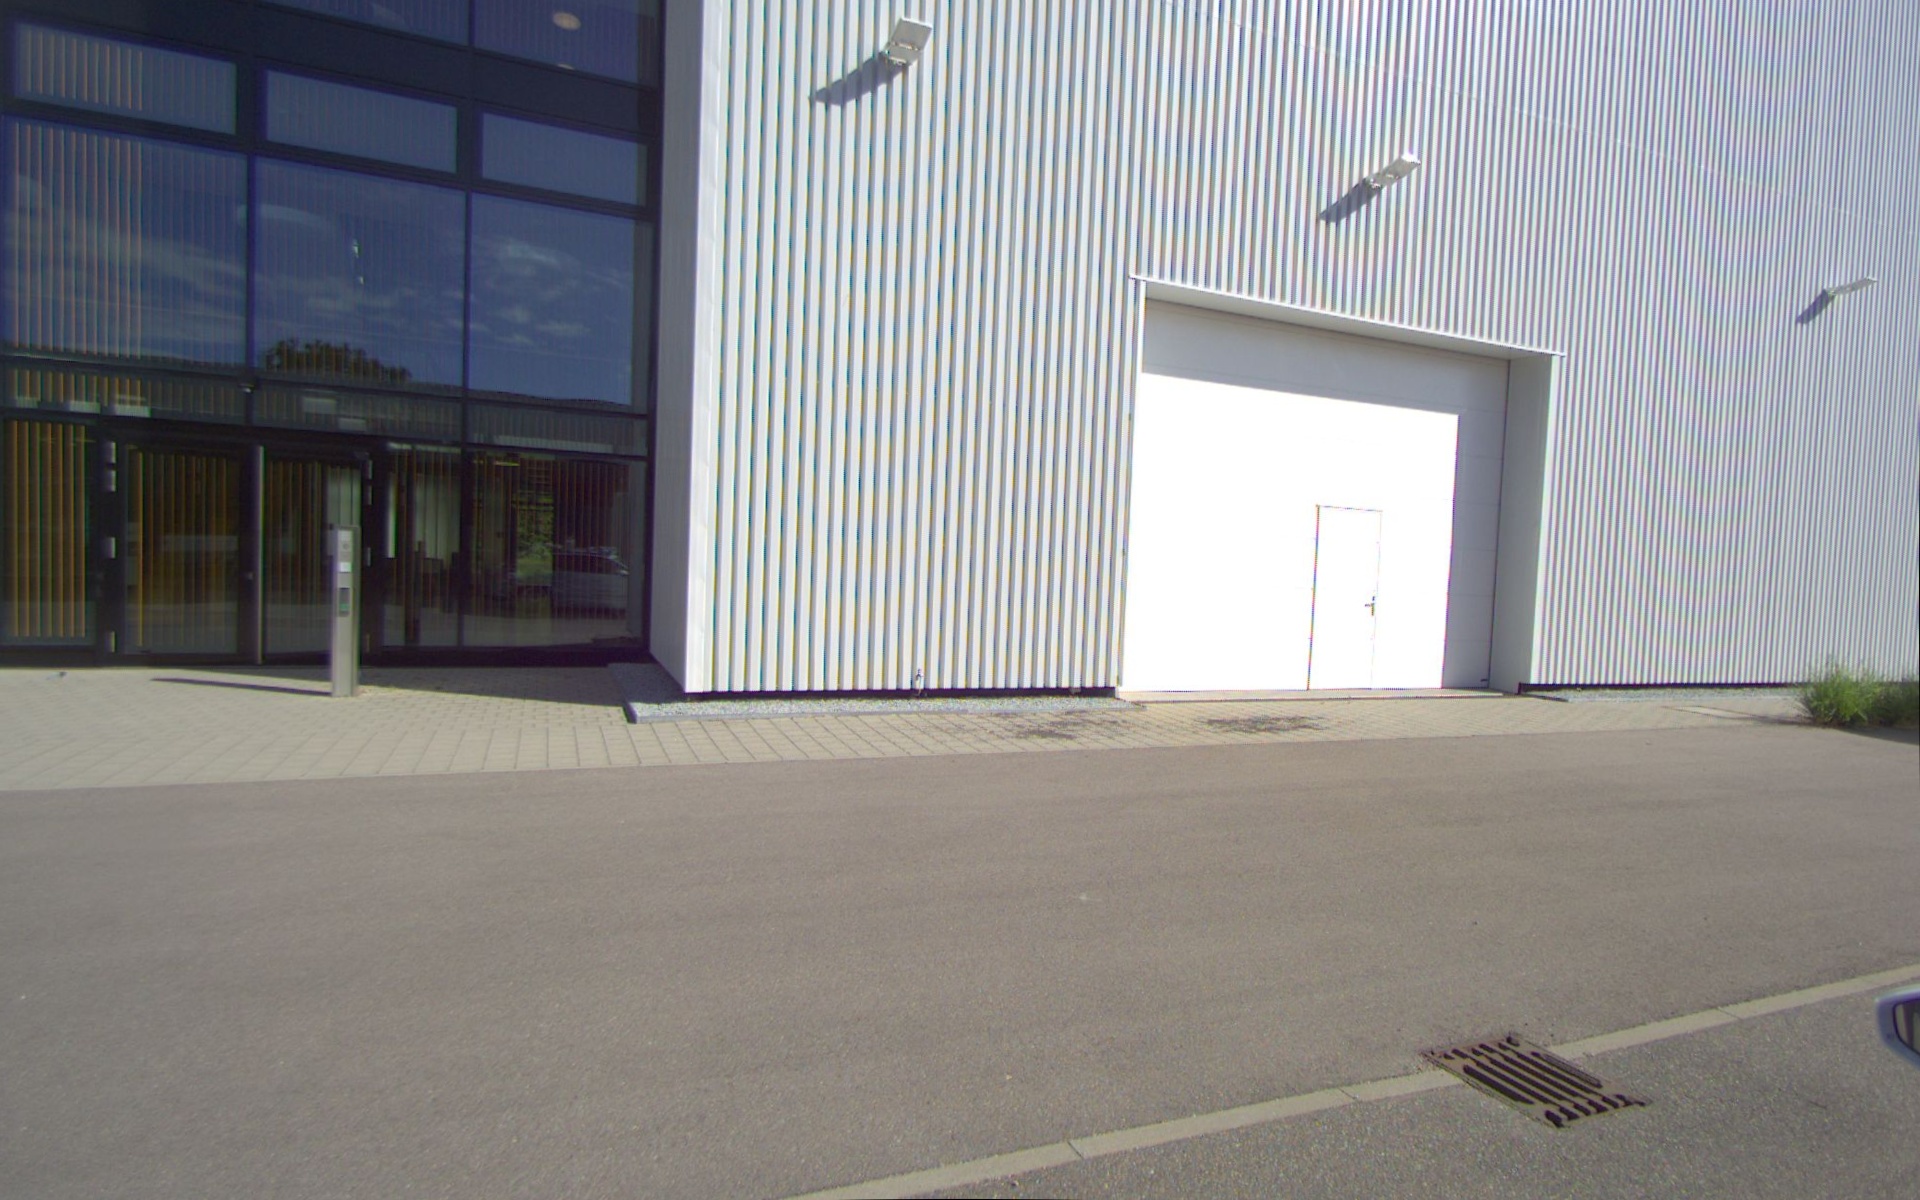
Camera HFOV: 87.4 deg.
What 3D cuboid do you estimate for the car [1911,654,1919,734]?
[{"bbox_3d":[13.165,0.697,11.340,4.297,1.870,1.885,2,4,-24],"label":"car"}]
